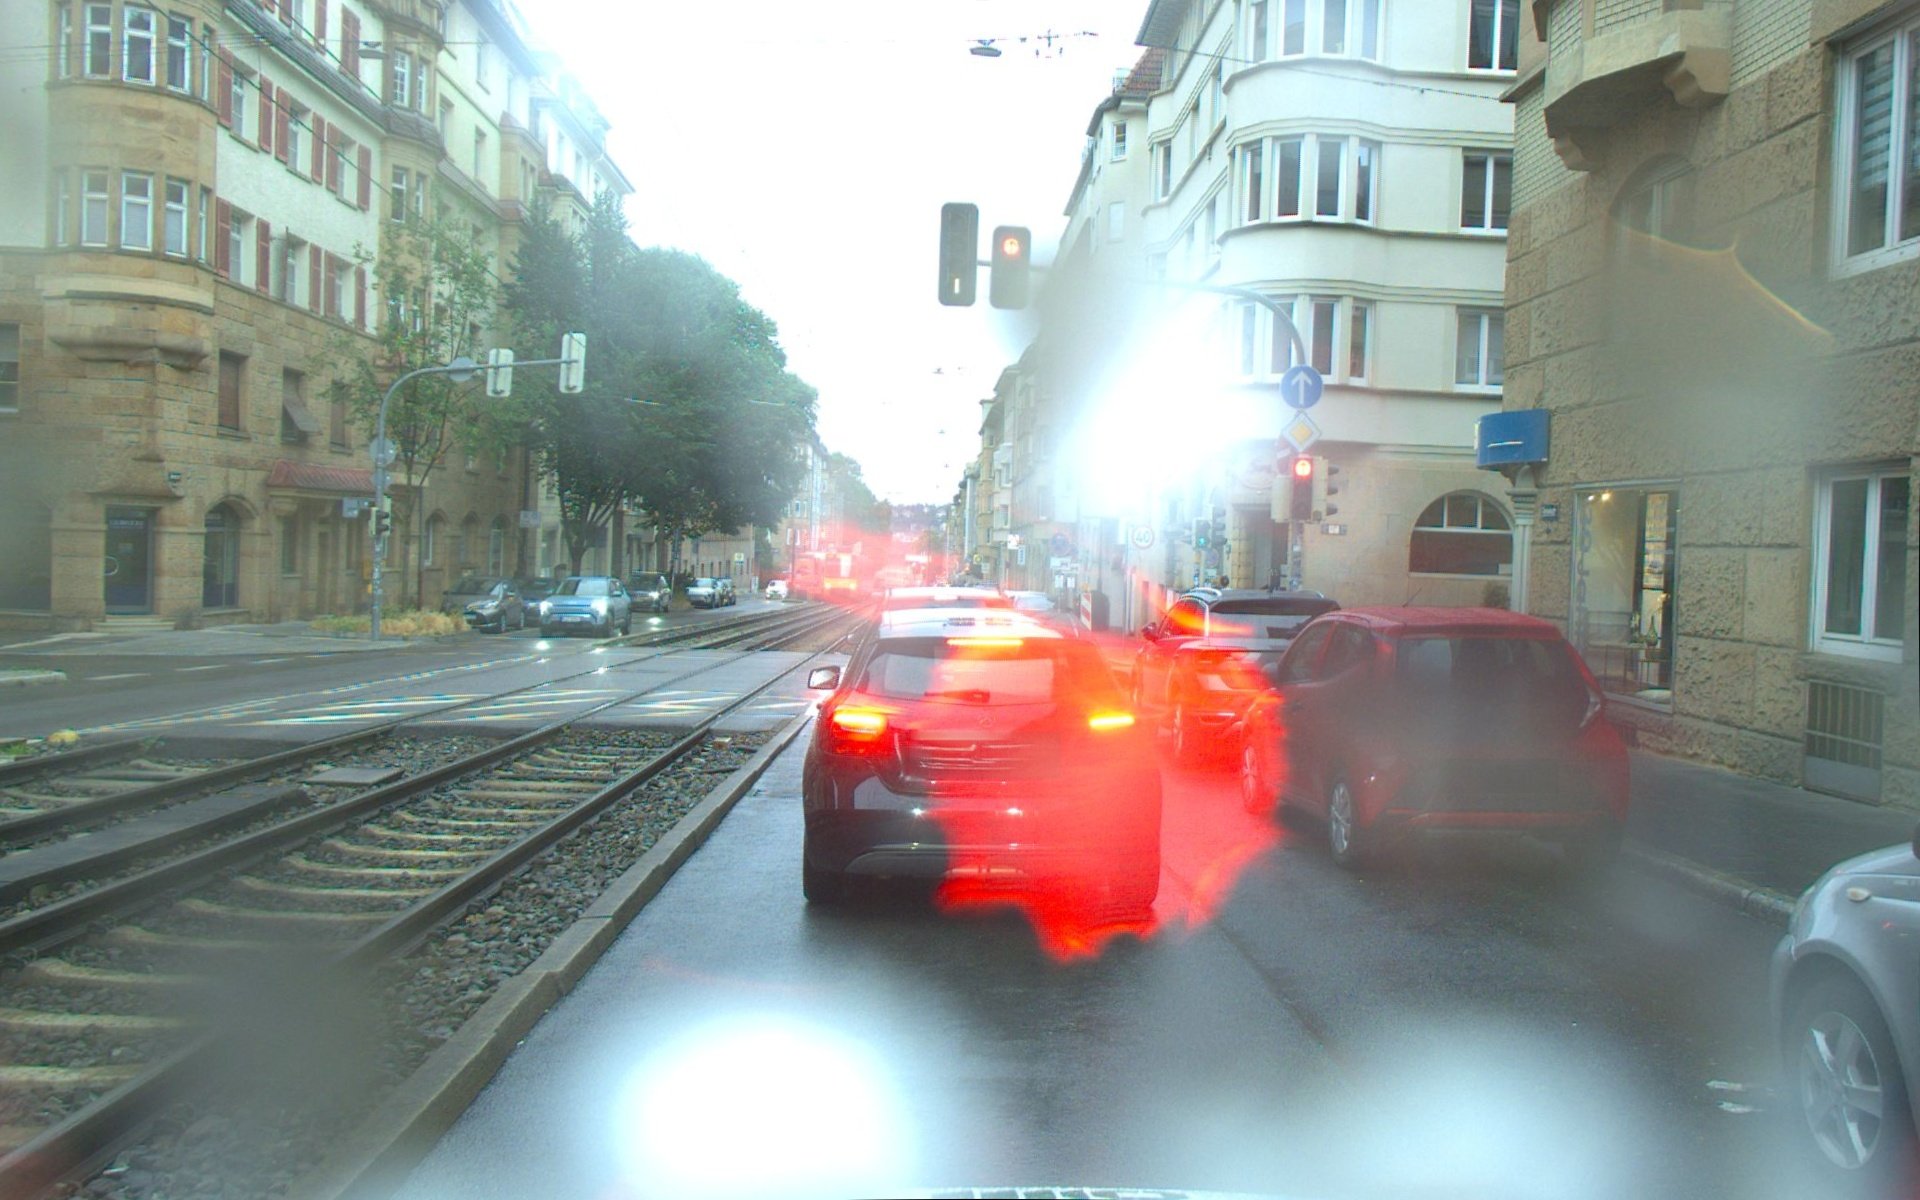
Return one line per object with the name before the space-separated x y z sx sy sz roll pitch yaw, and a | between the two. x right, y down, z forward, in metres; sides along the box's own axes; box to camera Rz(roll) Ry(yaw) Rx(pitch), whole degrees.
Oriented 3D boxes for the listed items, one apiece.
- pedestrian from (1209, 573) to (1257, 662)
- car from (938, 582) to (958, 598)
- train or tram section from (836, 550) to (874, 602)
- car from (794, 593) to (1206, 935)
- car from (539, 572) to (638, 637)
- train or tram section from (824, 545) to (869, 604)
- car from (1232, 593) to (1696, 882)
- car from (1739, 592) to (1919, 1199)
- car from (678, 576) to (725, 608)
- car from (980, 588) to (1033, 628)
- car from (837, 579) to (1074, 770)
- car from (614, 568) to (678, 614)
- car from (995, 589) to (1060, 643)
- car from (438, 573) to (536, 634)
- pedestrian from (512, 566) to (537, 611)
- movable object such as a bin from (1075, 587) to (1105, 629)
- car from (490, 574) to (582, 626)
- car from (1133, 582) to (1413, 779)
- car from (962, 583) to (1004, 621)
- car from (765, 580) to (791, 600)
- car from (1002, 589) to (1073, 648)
pedestrian | 5.368 0.337 32.560 0.788 1.717 0.754 1 -1 -2
car | -1.170 -0.965 161.554 1.848 1.552 4.246 2 0 1
train or tram section | -8.913 -2.022 142.016 2.690 4.132 15.656 1 1 -2
car | 0.153 0.719 9.271 1.797 1.478 3.901 1 0 -1
car | -10.009 0.116 44.788 1.883 1.646 4.126 1 0 -3
train or tram section | -8.494 -1.930 125.734 2.690 4.132 17.208 1 1 -2
car | 2.974 0.725 10.540 1.672 1.478 3.530 2 0 -3
car | 3.079 0.748 3.081 1.562 1.513 3.521 1 0 -1
car | -13.915 -0.449 89.247 1.922 1.633 4.327 2 1 -2
car | 1.721 0.310 61.920 1.753 1.410 4.394 1 0 -1
car | -0.067 0.623 16.113 1.953 1.552 4.245 2 0 -1
car | -13.596 -0.414 71.852 1.914 1.772 4.777 4 1 -3
car | 1.952 0.447 49.004 1.677 1.493 4.773 1 0 -1
car | -12.947 0.101 45.488 1.656 1.556 4.173 1 0 -3
pedestrian | -16.473 -0.440 62.630 0.713 1.692 0.770 2 0 -2
movable object such as a bin | 4.697 0.278 59.842 0.960 1.494 1.272 1 0 -2
car | -13.009 0.003 51.043 1.745 1.485 4.976 1 0 -3
car | 2.826 0.666 15.810 1.830 1.576 3.990 2 0 -1
car | 1.070 0.113 74.492 1.803 1.636 4.761 1 0 1
car | -14.456 -0.786 131.649 1.745 1.529 4.060 1 0 -3
car | 2.003 0.469 43.638 1.675 1.435 4.817 1 0 1
